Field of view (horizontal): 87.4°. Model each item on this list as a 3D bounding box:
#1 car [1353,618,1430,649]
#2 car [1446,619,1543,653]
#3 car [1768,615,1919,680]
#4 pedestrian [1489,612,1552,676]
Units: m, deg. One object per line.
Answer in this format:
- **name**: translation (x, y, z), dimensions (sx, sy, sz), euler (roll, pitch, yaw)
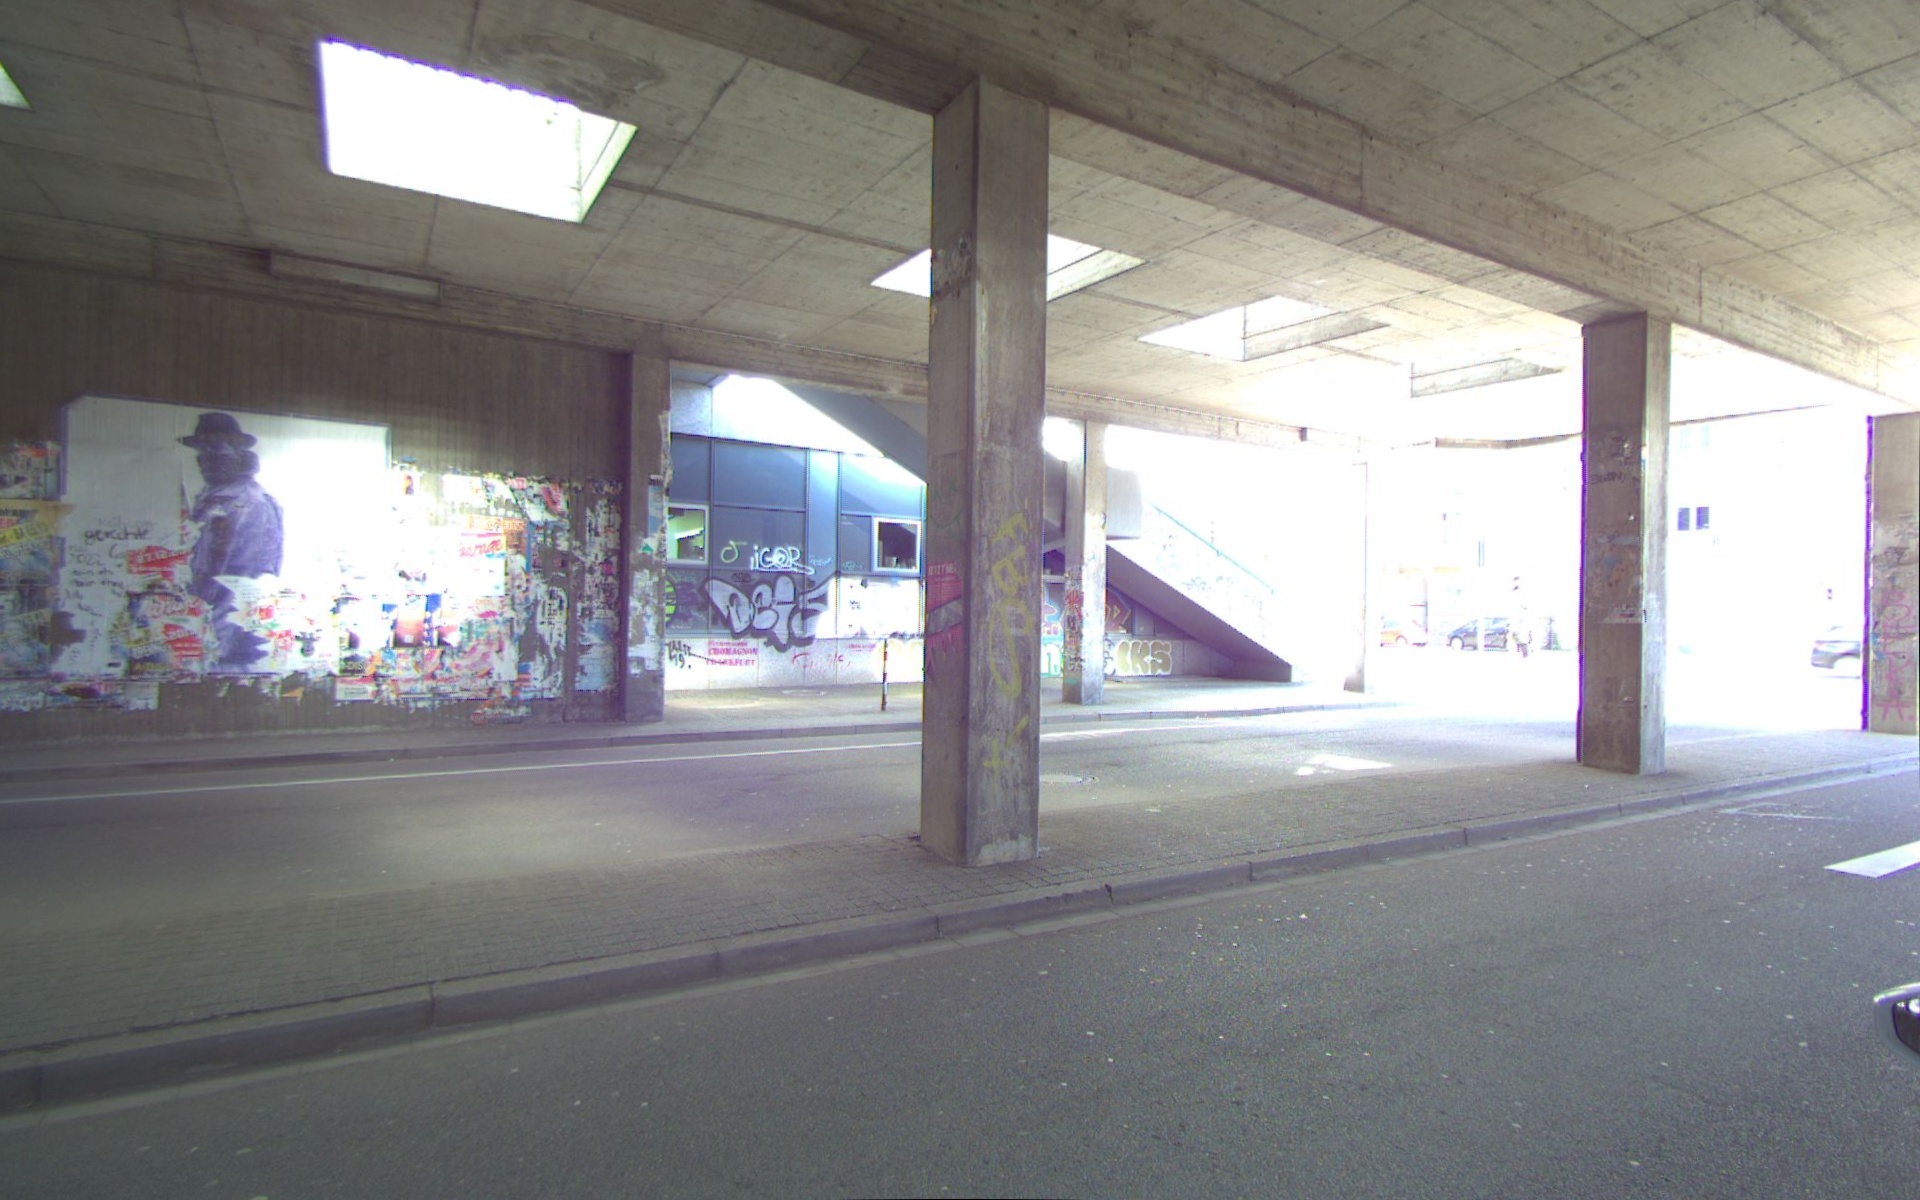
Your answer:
- **car**: translation (22.473, 1.723, 52.459), dimensions (1.543, 1.526, 3.518), euler (1, -1, -29)
- **car**: translation (25.373, 1.675, 47.804), dimensions (1.732, 1.528, 3.735), euler (1, -1, -31)
- **car**: translation (23.779, 1.185, 25.565), dimensions (1.980, 1.554, 4.688), euler (1, -1, -35)
- **pedestrian**: translation (15.819, 1.232, 28.371), dimensions (1.123, 1.760, 1.111), euler (1, -1, -17)
